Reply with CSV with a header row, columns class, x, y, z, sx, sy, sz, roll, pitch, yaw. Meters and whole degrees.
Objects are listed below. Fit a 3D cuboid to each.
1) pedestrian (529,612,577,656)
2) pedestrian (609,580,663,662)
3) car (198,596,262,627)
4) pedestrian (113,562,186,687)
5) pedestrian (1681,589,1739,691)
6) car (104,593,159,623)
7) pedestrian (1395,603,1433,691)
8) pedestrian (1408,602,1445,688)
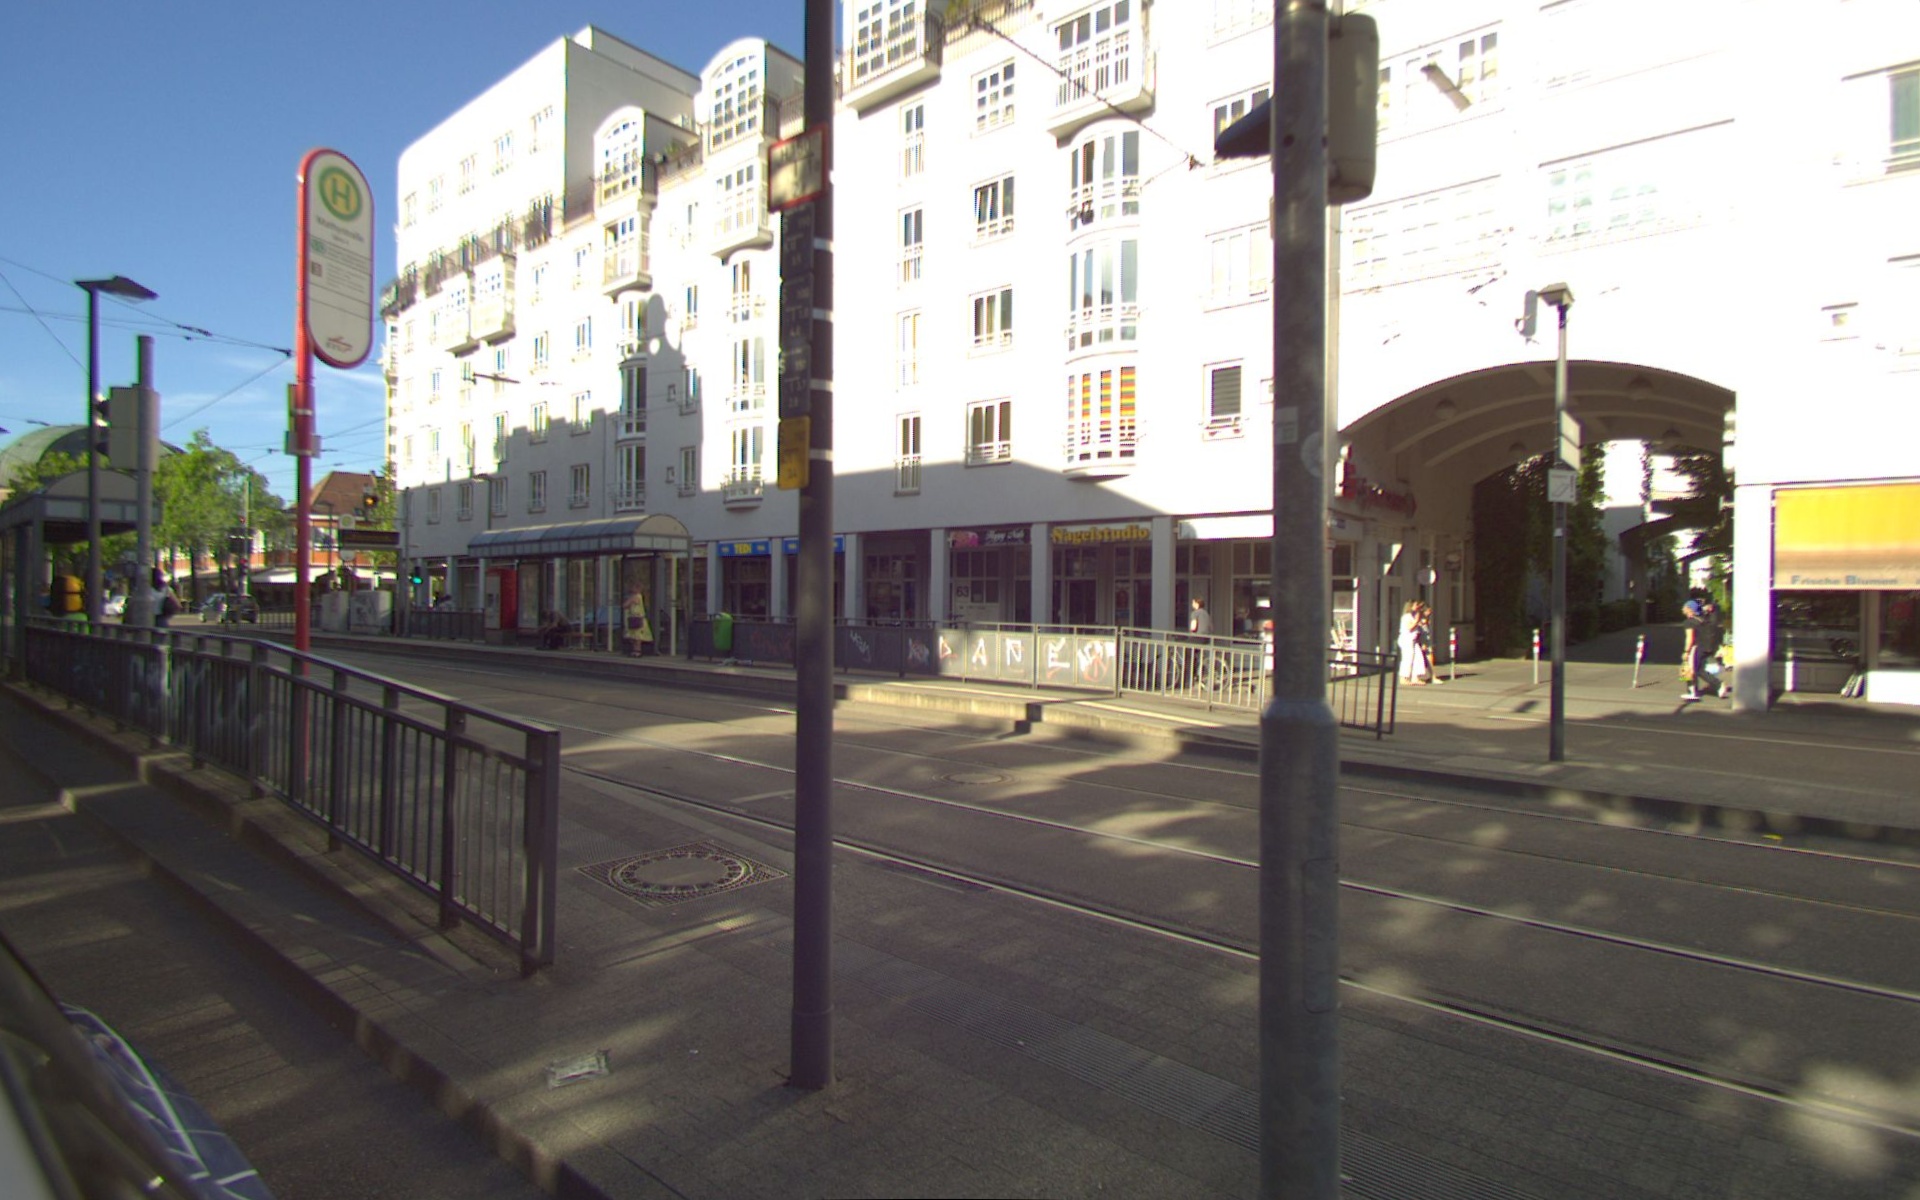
class,x,y,z,sx,sy,sz,roll,pitch,yaw
pedestrian,-9.569,0.794,23.791,0.747,0.996,0.784,0,-1,41
pedestrian,-6.707,0.427,20.936,0.747,1.657,0.784,0,-1,41
car,-39.881,0.636,55.277,3.998,1.630,1.973,0,-1,41
pedestrian,-11.101,0.327,13.868,0.400,1.657,0.707,0,-1,43
pedestrian,12.567,0.652,16.946,0.730,1.657,0.737,0,-1,41
car,-54.832,0.505,66.934,3.995,1.918,1.974,1,-1,38
pedestrian,8.711,0.882,19.417,0.522,1.657,0.556,0,-1,41
pedestrian,9.161,0.877,19.872,0.522,1.657,0.556,0,-1,41
